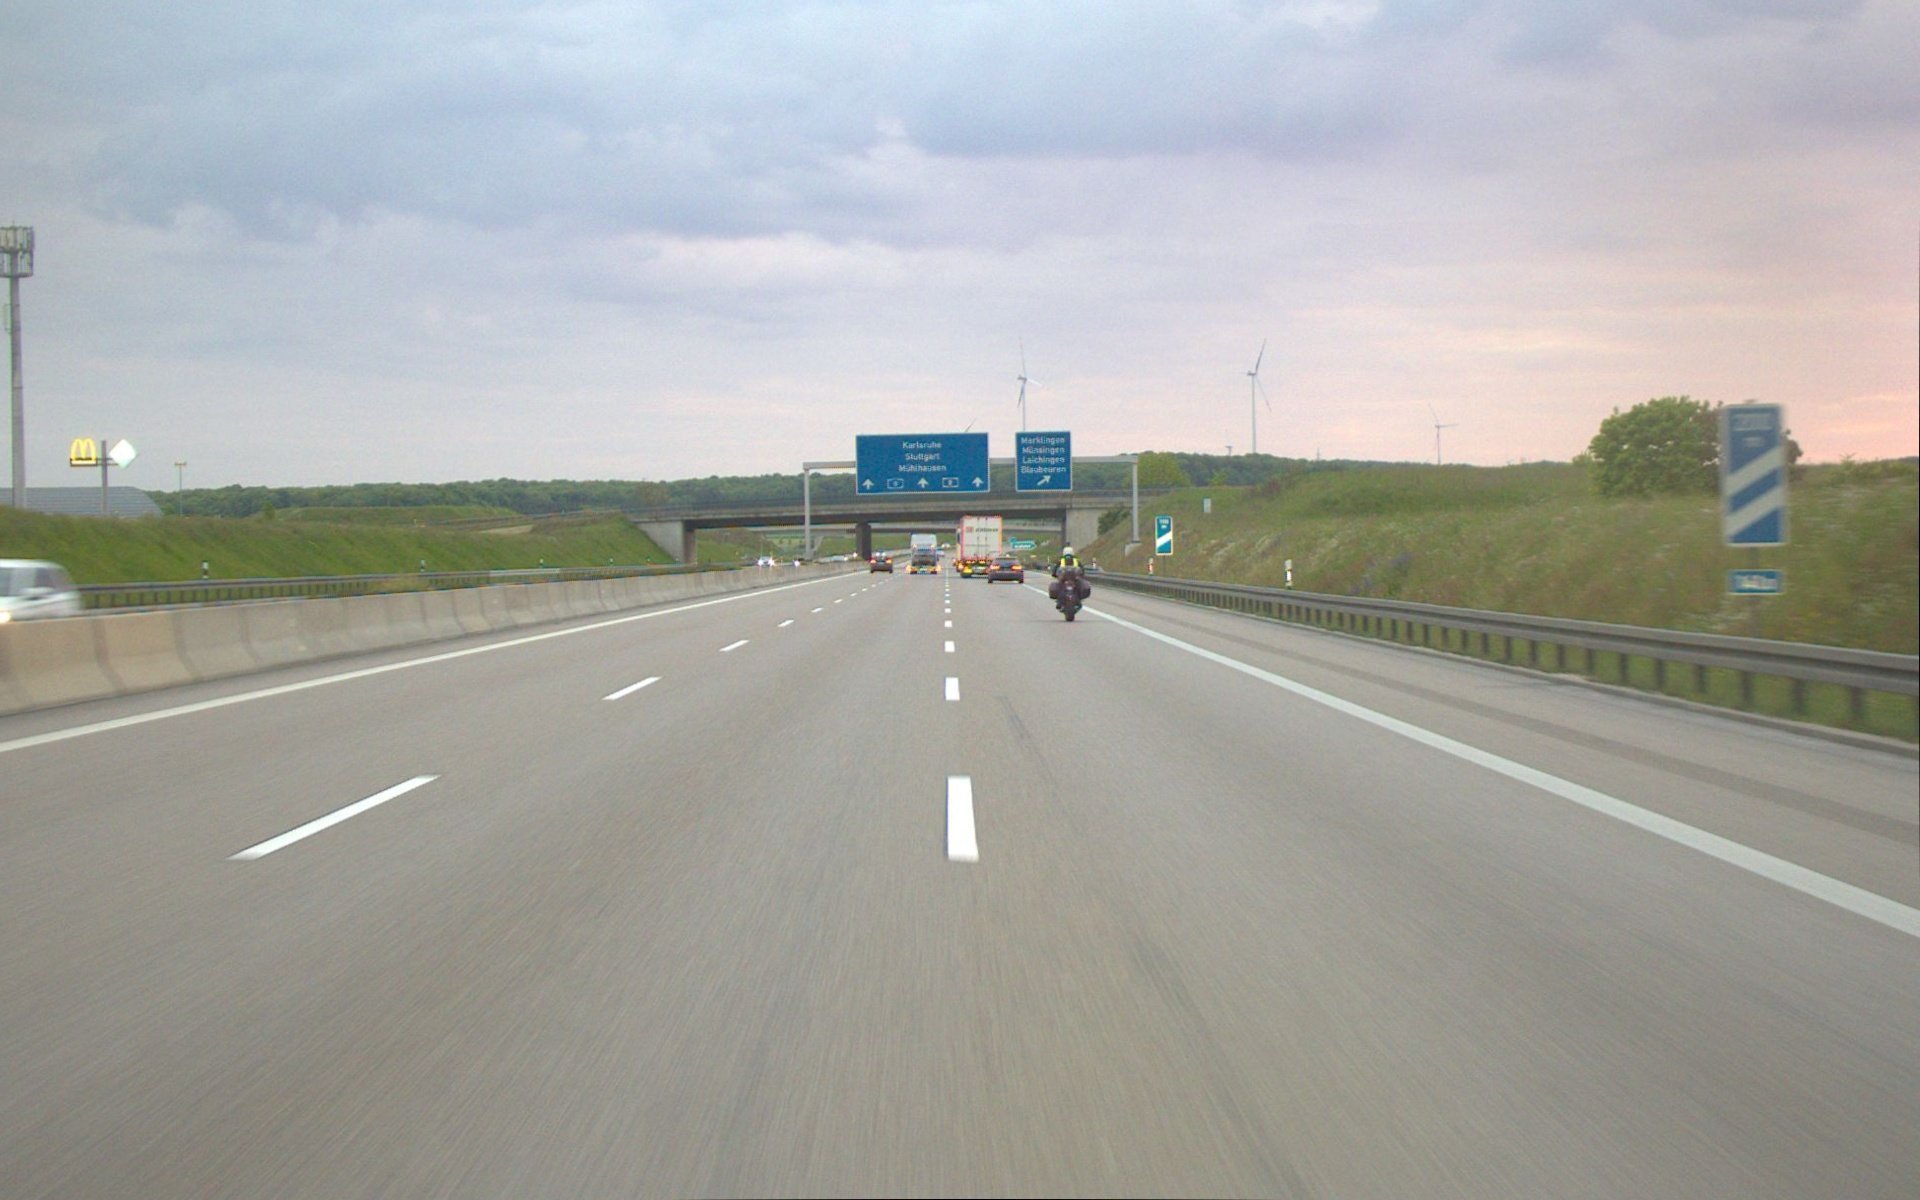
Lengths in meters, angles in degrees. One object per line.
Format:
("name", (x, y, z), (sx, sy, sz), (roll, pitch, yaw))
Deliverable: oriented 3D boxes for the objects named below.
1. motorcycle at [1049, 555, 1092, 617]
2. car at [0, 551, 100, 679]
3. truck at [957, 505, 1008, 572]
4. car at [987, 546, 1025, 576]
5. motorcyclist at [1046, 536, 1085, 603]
("motorcycle", (2.493, -0.336, 77.779), (0.902, 1.342, 2.349), (0, 2, 0))
("car", (-13.975, 0.177, 49.454), (1.993, 1.729, 5.183), (0, 1, -1))
("truck", (1.447, -4.071, 225.458), (3.234, 4.213, 9.599), (1, 1, 0))
("car", (2.435, -2.075, 182.870), (1.918, 1.574, 4.000), (0, 1, -1))
("motorcyclist", (2.378, -0.685, 77.635), (0.866, 1.482, 1.168), (1, 1, 1))
